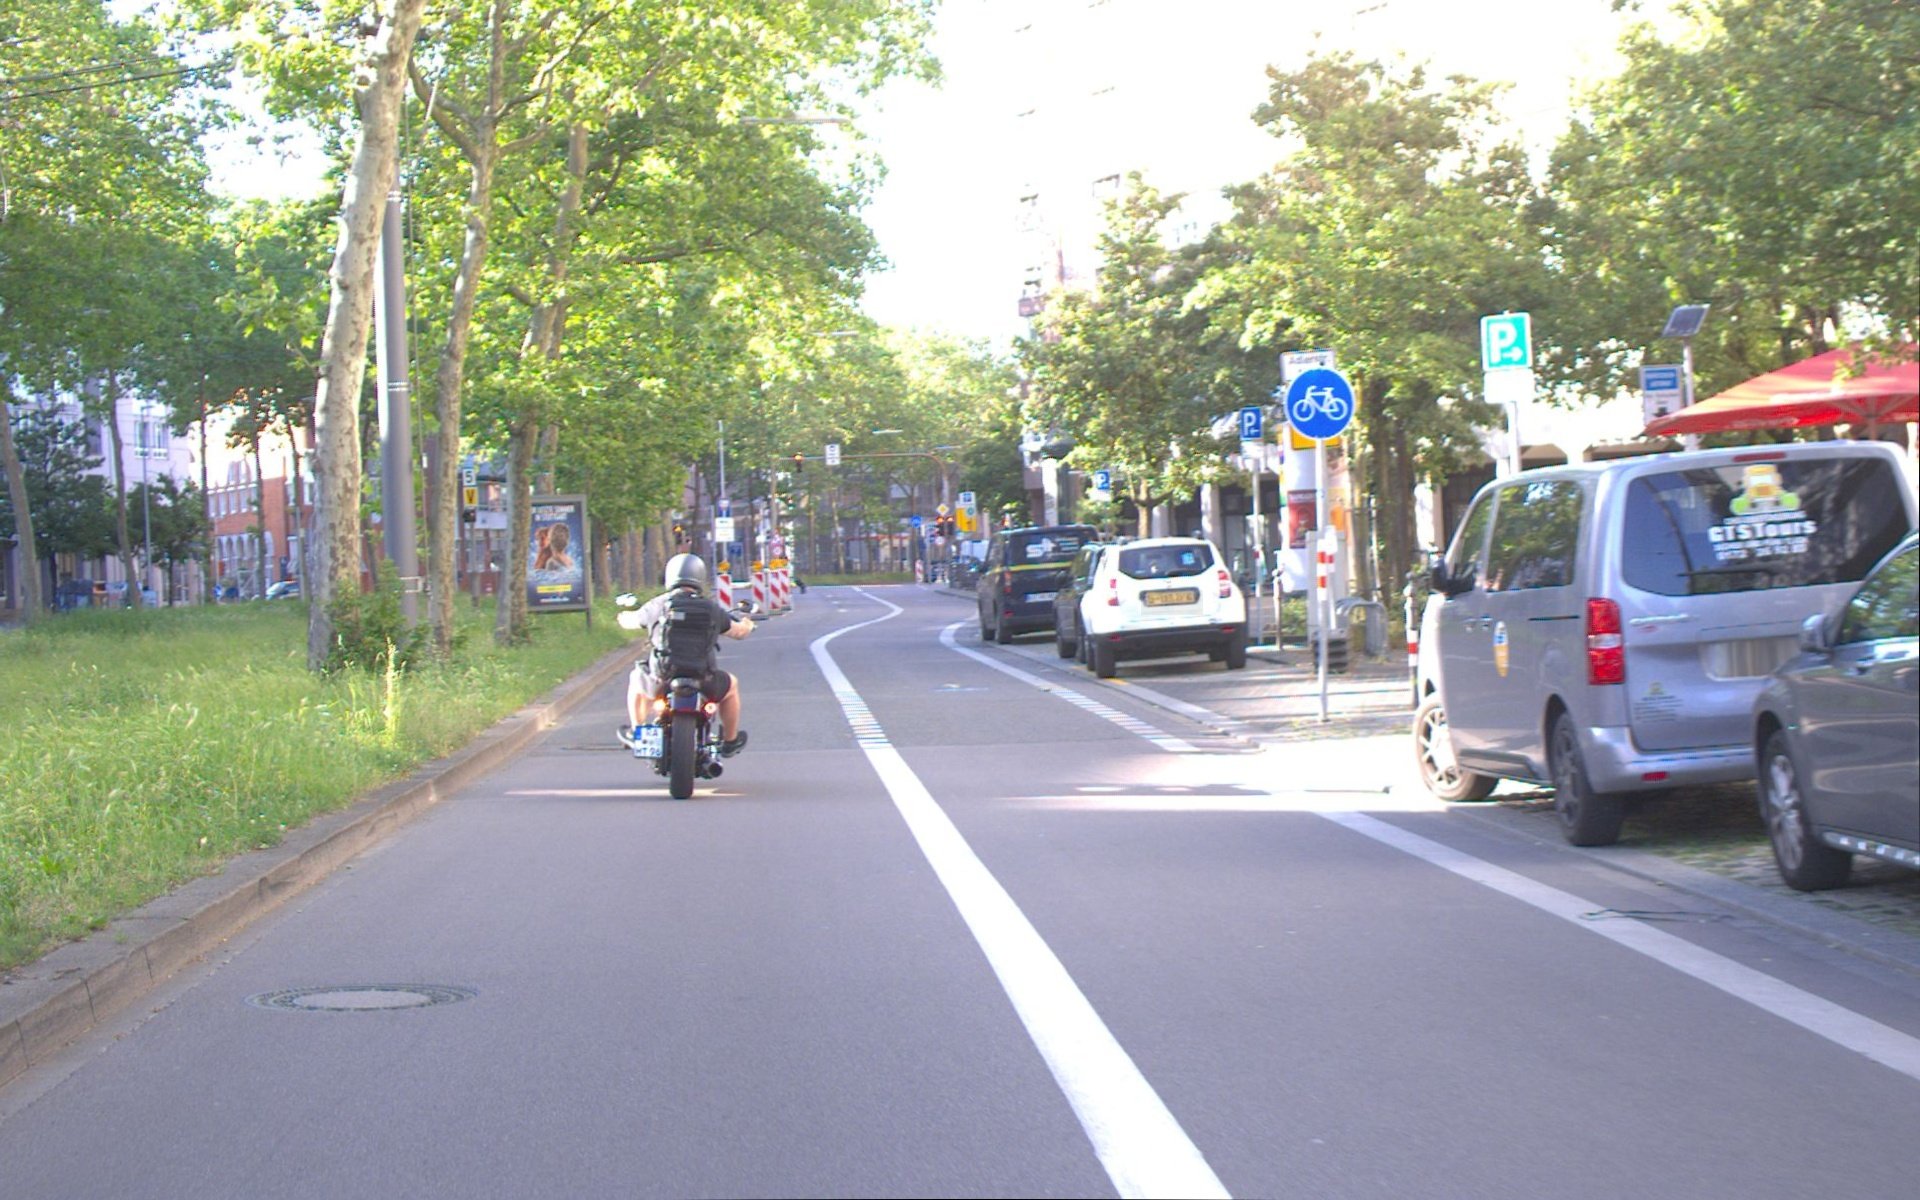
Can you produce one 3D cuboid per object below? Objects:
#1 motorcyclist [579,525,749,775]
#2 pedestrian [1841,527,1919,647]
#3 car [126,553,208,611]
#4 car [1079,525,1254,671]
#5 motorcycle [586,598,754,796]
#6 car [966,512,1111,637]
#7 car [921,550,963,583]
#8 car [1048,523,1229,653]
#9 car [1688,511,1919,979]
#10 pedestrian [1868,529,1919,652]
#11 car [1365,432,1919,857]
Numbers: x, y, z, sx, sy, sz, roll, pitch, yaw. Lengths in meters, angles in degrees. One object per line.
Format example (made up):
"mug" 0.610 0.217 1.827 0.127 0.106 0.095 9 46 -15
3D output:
"motorcyclist" -1.952 0.308 22.746 1.022 1.547 1.287 -2 2 -4
"pedestrian" 12.223 -0.179 45.524 0.870 1.541 0.994 -2 1 3
"car" -24.257 -0.558 105.248 1.900 1.681 4.001 -2 1 -6
"car" 2.489 -0.046 42.250 1.859 1.632 3.868 -2 1 0
"motorcycle" -1.914 0.608 22.767 1.005 1.121 2.324 -2 2 -4
"car" 1.317 -0.458 59.470 2.029 1.970 4.415 -3 1 -3
"car" -0.995 -1.863 190.743 1.994 1.700 4.000 -2 1 4
"car" 2.440 -0.180 48.040 1.987 1.623 4.086 -3 1 -3
"car" 4.166 0.432 12.834 1.859 1.567 4.415 -4 1 0
"pedestrian" 12.267 -0.133 44.193 0.870 1.541 0.994 -2 1 0
"car" 3.606 0.175 18.409 1.922 1.837 4.925 -4 1 -3
